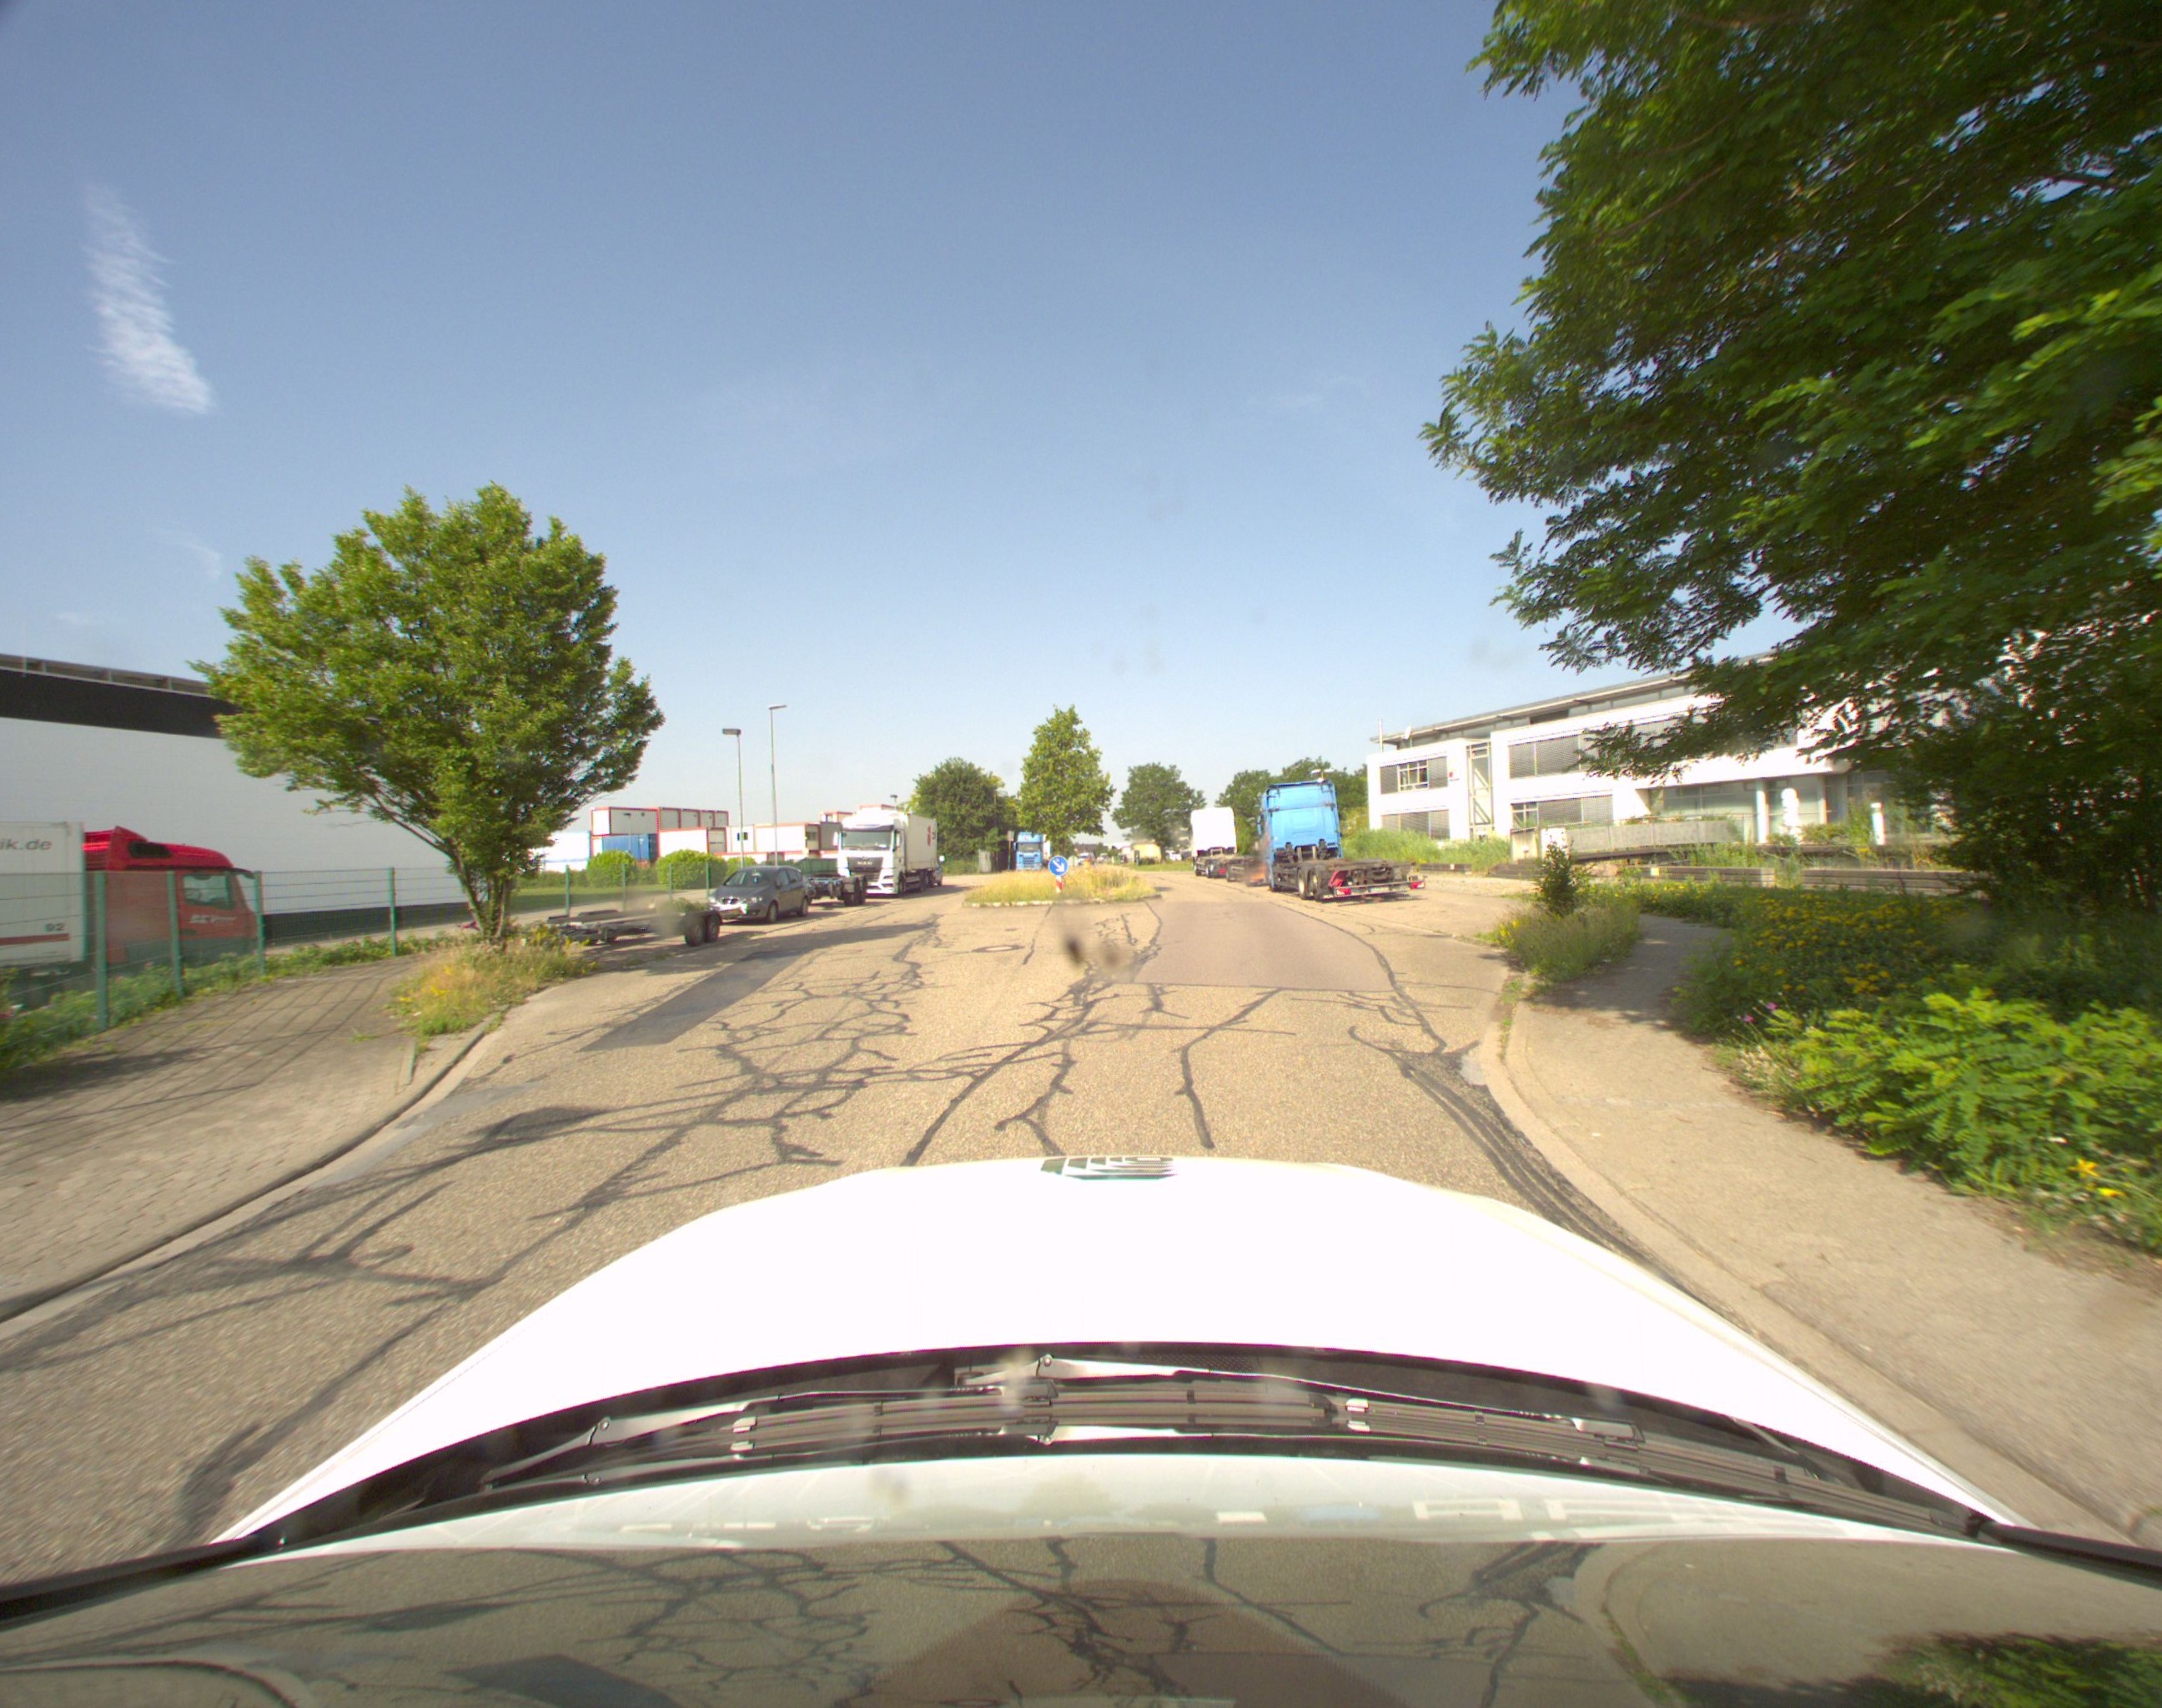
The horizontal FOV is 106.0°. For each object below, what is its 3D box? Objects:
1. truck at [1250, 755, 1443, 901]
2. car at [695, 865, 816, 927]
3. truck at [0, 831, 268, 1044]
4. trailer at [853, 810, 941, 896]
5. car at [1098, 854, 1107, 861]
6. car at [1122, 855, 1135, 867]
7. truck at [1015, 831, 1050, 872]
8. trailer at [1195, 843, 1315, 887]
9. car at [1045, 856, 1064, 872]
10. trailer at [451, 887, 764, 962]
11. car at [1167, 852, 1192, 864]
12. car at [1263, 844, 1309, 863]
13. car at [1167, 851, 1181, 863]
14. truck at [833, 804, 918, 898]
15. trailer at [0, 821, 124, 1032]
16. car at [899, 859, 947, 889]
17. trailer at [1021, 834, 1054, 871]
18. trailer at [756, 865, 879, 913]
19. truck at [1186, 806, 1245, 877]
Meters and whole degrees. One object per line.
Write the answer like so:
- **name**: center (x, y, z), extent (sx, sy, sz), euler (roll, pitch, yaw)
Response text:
- **truck**: center (7.910, -0.596, 26.022), extent (2.878, 3.535, 9.757), euler (-6, -1, 1)
- **car**: center (-9.243, 1.123, 23.553), extent (1.690, 1.561, 4.336), euler (0, 0, 1)
- **truck**: center (-21.510, 1.641, 17.164), extent (2.494, 4.071, 5.566), euler (-1, -1, 16)
- **trailer**: center (-9.043, 0.023, 40.947), extent (2.691, 3.922, 7.573), euler (0, -1, 0)
- **car**: center (5.979, 1.088, 222.136), extent (1.770, 1.815, 3.987), euler (0, -1, -9)
- **car**: center (7.048, 1.070, 121.531), extent (1.786, 1.750, 3.999), euler (0, -1, 0)
- **truck**: center (-4.753, -0.149, 80.889), extent (2.816, 3.826, 9.671), euler (0, -1, 0)
- **trailer**: center (8.128, 0.484, 40.900), extent (2.736, 1.574, 16.173), euler (-4, 0, 1)
- **car**: center (-3.523, 1.262, 106.895), extent (1.993, 2.014, 3.987), euler (-2, 0, -9)
- **trailer**: center (-9.128, 1.308, 16.808), extent (2.539, 0.925, 6.707), euler (1, 0, 0)
- **car**: center (11.578, 0.452, 95.586), extent (1.671, 1.330, 3.643), euler (0, -1, -16)
- **car**: center (19.402, -0.029, 77.181), extent (4.012, 1.767, 1.980), euler (1, -2, -31)
- **car**: center (12.869, 0.474, 112.944), extent (1.710, 1.618, 4.004), euler (0, -1, 4)
- **truck**: center (-9.049, -0.087, 36.327), extent (2.700, 3.922, 4.295), euler (0, -1, 0)
- **trailer**: center (-23.374, 1.291, 10.806), extent (2.463, 4.042, 13.947), euler (-1, -1, 16)
- **car**: center (-9.174, 1.136, 47.650), extent (1.988, 1.641, 4.585), euler (-1, 0, -1)
- **trailer**: center (-4.656, -0.012, 89.490), extent (2.822, 3.843, 12.034), euler (0, -1, 0)
- **trailer**: center (-9.419, 1.211, 29.707), extent (2.671, 1.453, 5.079), euler (-1, 0, 2)
- **truck**: center (8.161, -0.713, 49.973), extent (2.737, 3.981, 4.000), euler (-5, -1, 1)
